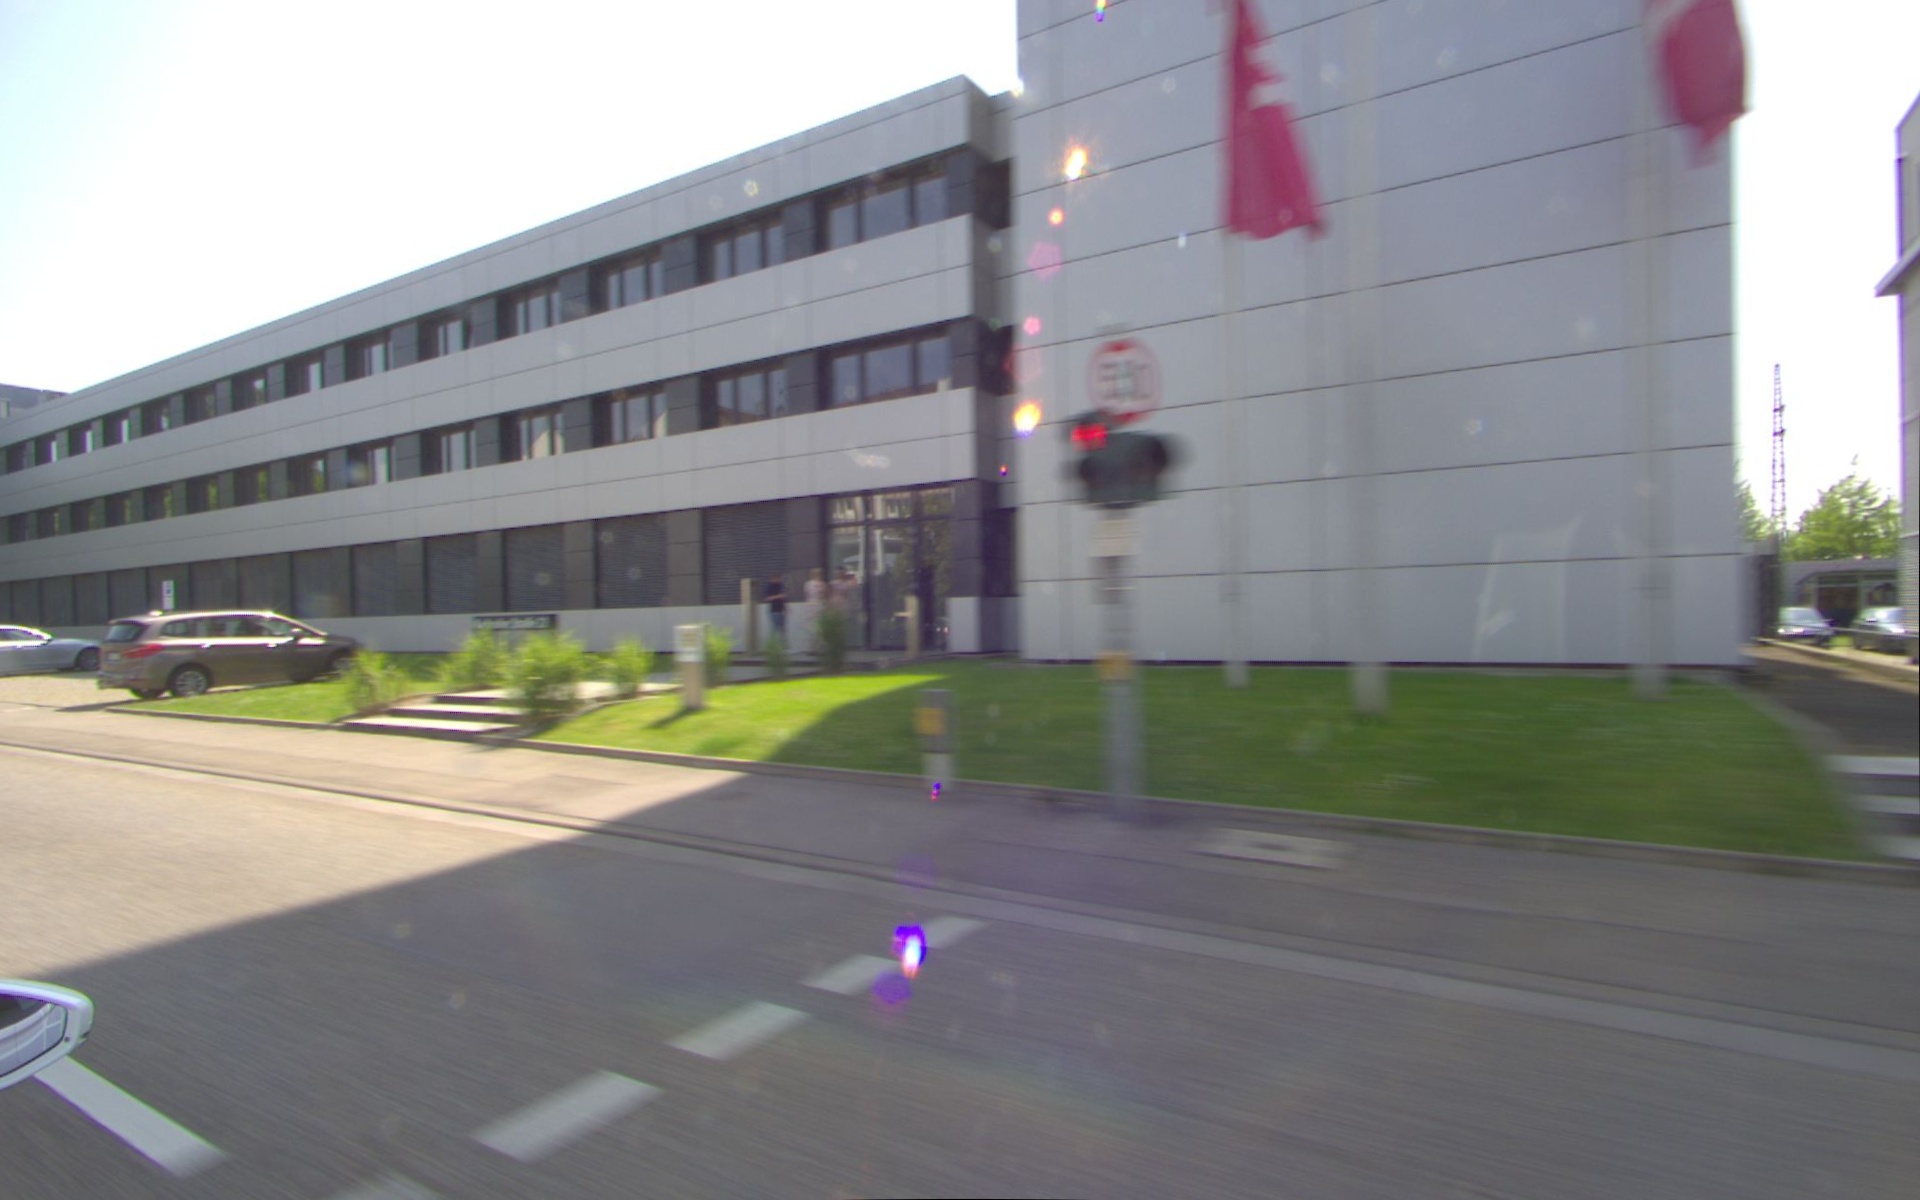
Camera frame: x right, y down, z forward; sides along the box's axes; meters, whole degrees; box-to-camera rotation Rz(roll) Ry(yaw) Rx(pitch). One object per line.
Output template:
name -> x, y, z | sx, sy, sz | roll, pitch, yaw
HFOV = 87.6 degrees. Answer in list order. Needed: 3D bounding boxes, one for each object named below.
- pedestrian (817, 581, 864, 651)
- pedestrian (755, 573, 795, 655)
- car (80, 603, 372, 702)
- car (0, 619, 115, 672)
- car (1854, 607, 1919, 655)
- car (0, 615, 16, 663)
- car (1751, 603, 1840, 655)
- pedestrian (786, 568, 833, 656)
pedestrian -> -2.473, 0.323, 20.719 | 0.786, 1.424, 0.522 | -1, 1, 22
pedestrian -> -3.795, 0.284, 20.581 | 0.517, 1.656, 0.590 | 0, 1, 41
car -> -14.451, 0.947, 19.996 | 1.969, 1.711, 4.255 | -1, 0, 28
car -> -27.451, 1.303, 28.655 | 1.969, 1.408, 4.608 | -1, 0, 28
car -> 30.337, 0.959, 32.215 | 1.628, 1.394, 3.762 | -1, 0, 31
car -> -34.501, 1.439, 33.517 | 1.706, 1.614, 3.807 | -1, 2, 28
car -> 27.947, 0.932, 33.603 | 1.699, 1.611, 3.845 | -1, 0, 31
pedestrian -> -2.938, 0.240, 19.576 | 0.743, 1.685, 0.522 | -1, 1, 15
